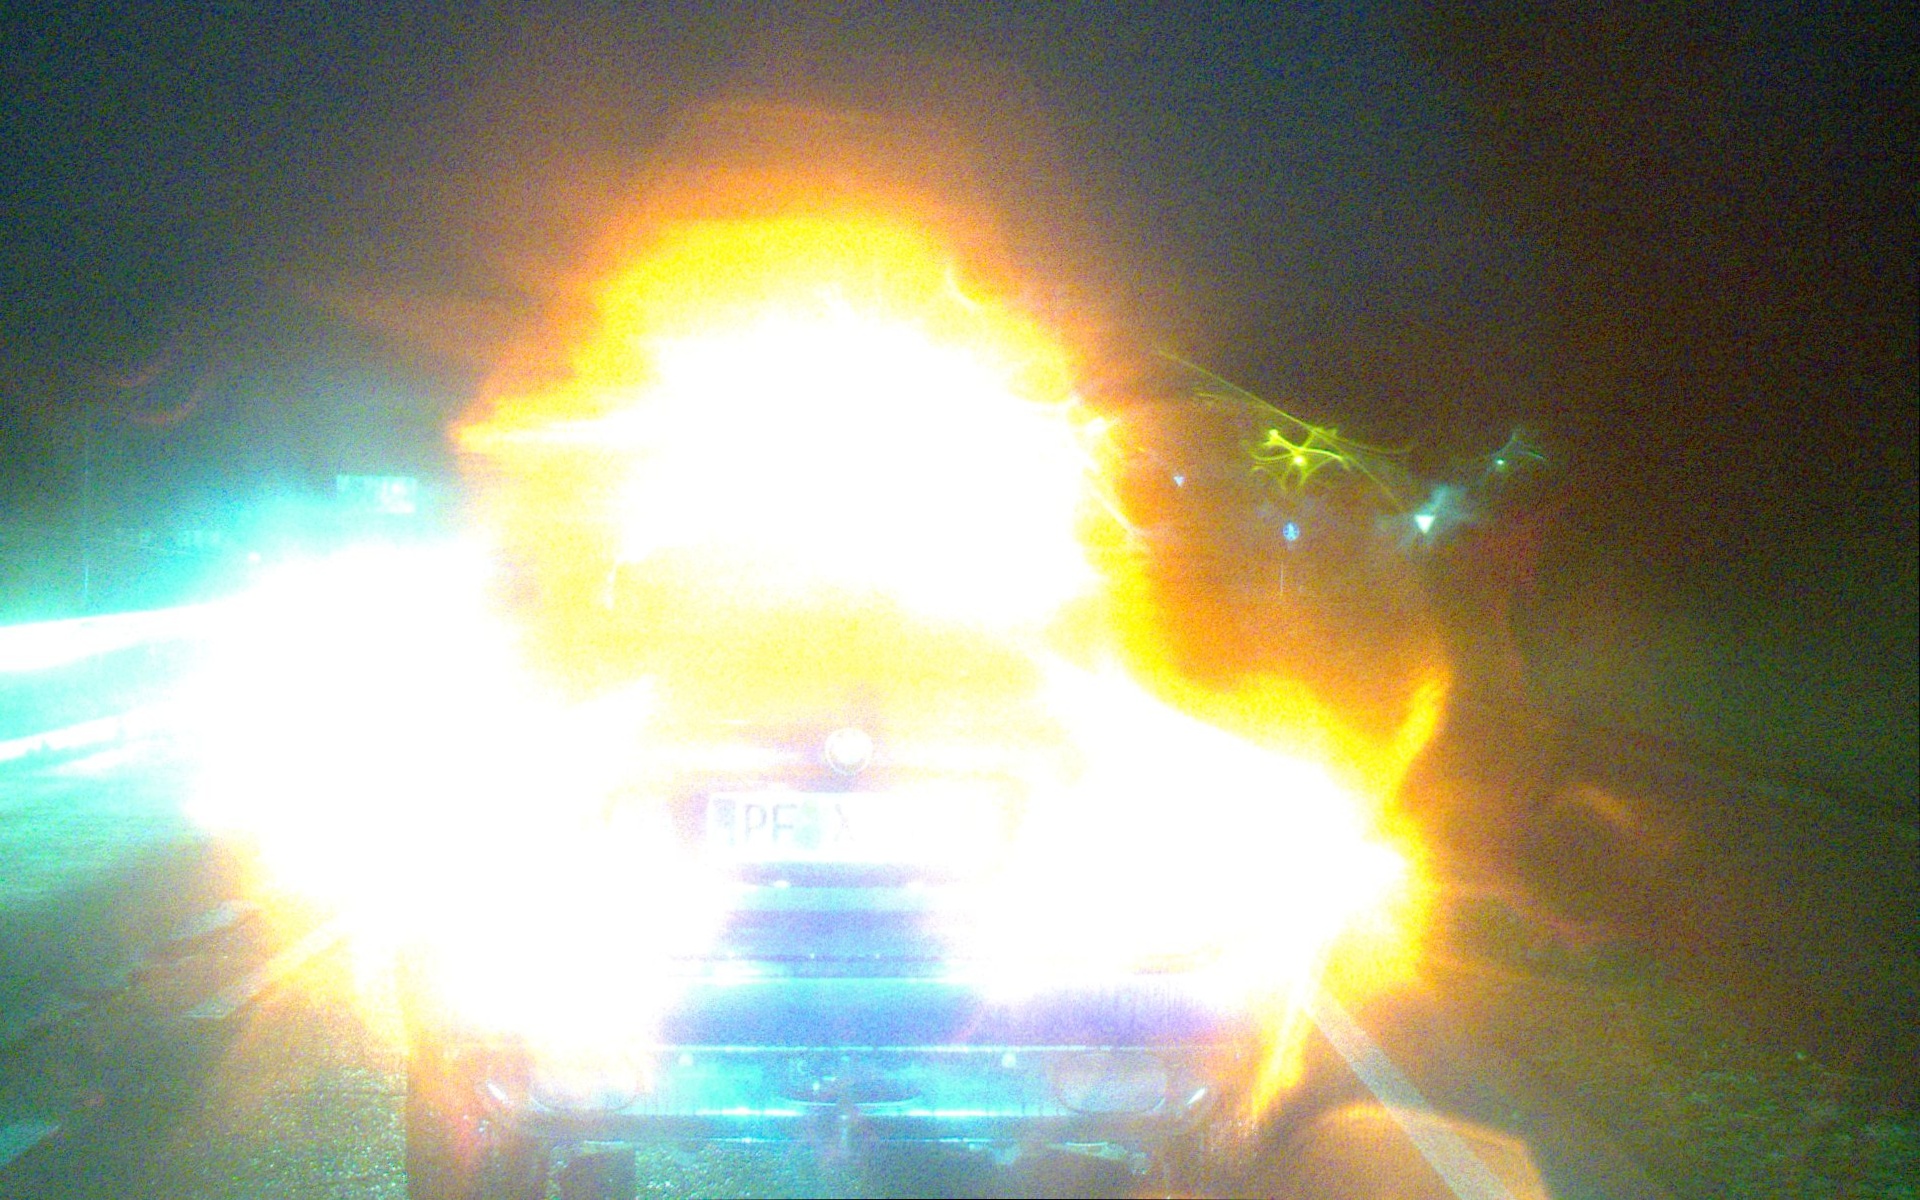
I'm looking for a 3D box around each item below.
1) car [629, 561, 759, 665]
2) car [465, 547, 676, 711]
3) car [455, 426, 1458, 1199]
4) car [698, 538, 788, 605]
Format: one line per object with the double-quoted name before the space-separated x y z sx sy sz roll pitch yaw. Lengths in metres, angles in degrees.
"car" -4.235 0.178 55.268 1.837 1.540 4.257 1 1 -1
"car" -4.154 0.263 37.245 1.951 1.650 4.125 -1 1 -2
"car" -0.016 0.514 8.144 1.775 1.706 4.000 1 1 0
"car" -5.048 -0.681 80.539 1.903 1.465 4.275 2 1 -2
